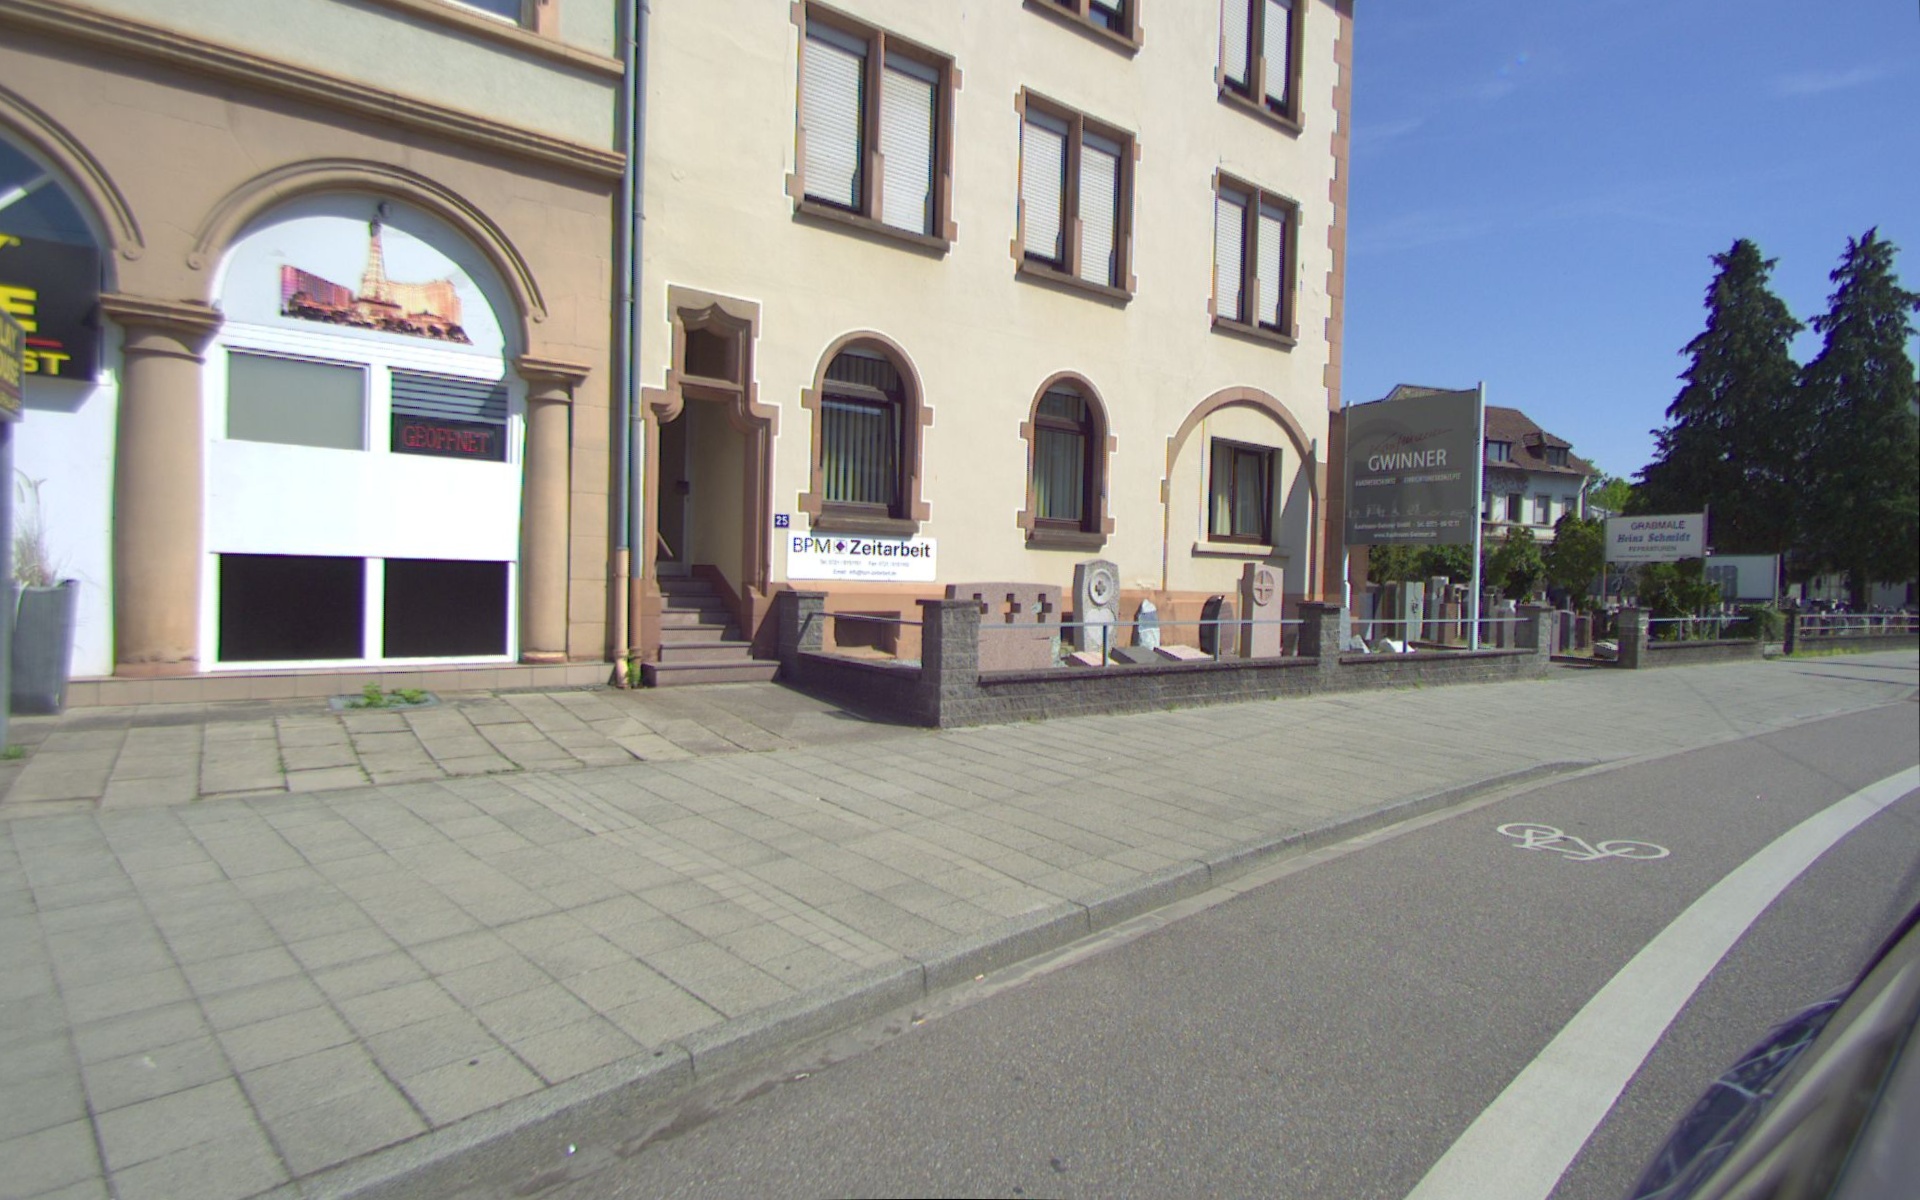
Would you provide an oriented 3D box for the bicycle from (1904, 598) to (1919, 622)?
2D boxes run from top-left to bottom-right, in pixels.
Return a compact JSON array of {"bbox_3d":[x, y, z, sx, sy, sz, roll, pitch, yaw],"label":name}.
[{"bbox_3d":[47.434,0.523,49.535,0.502,1.124,1.693,2,2,-31],"label":"bicycle"}]
